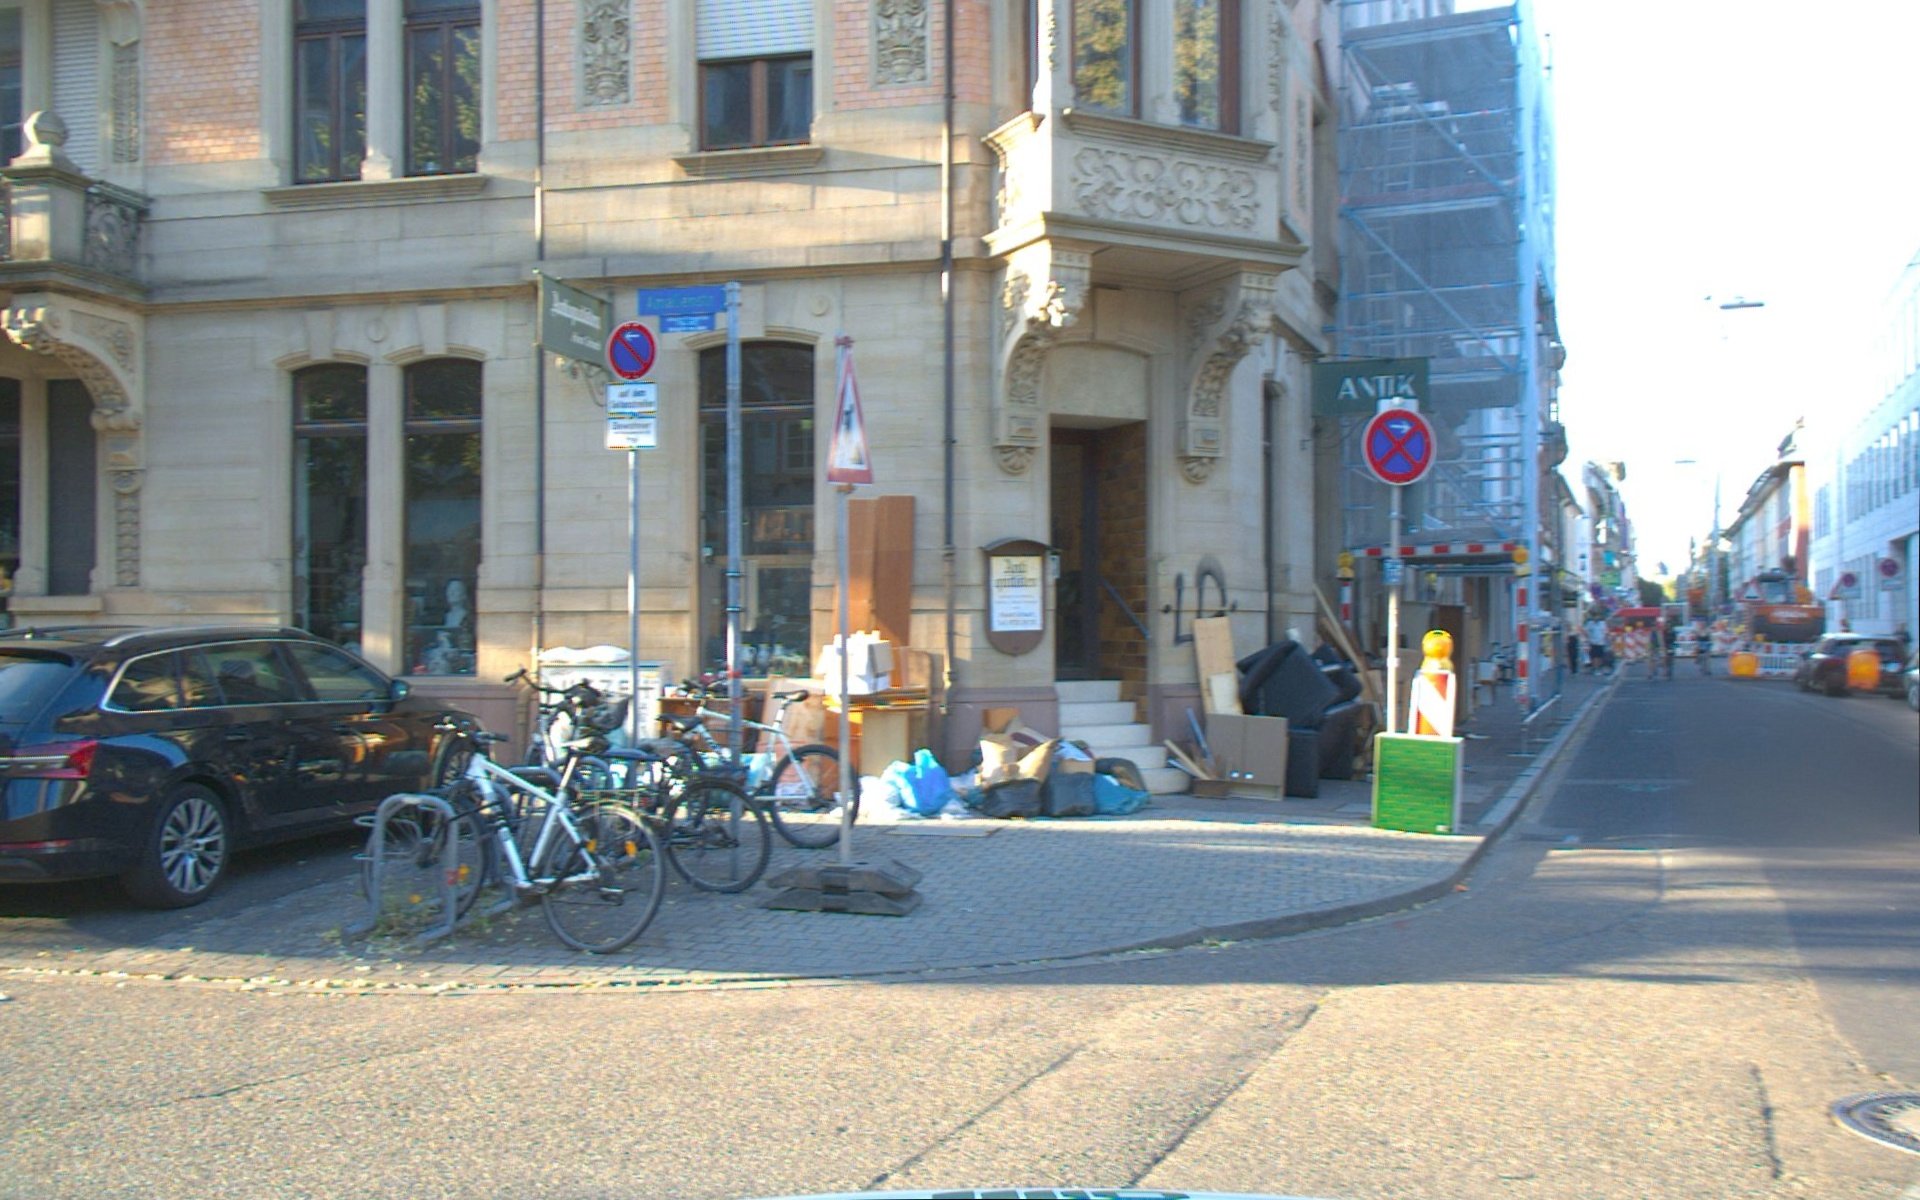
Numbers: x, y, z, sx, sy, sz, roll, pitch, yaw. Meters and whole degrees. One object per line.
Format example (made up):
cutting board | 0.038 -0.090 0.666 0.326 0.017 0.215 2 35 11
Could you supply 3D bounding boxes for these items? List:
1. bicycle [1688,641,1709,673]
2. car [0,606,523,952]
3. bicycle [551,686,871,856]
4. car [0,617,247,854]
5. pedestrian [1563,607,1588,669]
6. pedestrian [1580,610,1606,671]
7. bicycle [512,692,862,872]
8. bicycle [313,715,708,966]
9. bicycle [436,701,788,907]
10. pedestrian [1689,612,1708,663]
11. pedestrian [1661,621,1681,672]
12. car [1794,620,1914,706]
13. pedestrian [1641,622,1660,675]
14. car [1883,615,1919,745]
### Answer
bicycle | 21.671 1.673 48.544 0.494 0.899 1.476 -1 -1 22
car | -4.645 0.863 10.169 1.864 1.537 4.545 -1 1 13
bicycle | -1.651 1.109 10.963 2.058 1.058 0.466 -1 -1 12
car | -7.089 0.914 11.177 1.822 1.505 4.545 -1 0 13
pedestrian | 17.699 1.096 47.582 0.662 1.763 0.700 0 -1 20
pedestrian | 18.877 1.193 49.332 0.497 1.795 0.510 0 -1 -18
bicycle | -1.690 1.104 10.303 2.058 1.031 0.640 -1 -1 12
bicycle | -2.156 1.116 7.943 1.787 1.065 0.572 0 -1 15
bicycle | -1.907 1.093 9.116 1.787 1.031 0.640 -1 -1 12
pedestrian | 21.658 1.098 48.512 0.494 1.487 0.512 -1 -1 25
pedestrian | 21.002 1.366 48.852 0.495 1.487 0.511 -1 -1 29
car | 16.979 1.162 31.545 1.683 1.547 3.220 -1 -1 23
pedestrian | 19.652 1.376 47.069 0.494 1.487 0.512 -1 -1 23
car | 12.696 0.956 20.738 1.509 1.547 3.977 -1 -1 23
